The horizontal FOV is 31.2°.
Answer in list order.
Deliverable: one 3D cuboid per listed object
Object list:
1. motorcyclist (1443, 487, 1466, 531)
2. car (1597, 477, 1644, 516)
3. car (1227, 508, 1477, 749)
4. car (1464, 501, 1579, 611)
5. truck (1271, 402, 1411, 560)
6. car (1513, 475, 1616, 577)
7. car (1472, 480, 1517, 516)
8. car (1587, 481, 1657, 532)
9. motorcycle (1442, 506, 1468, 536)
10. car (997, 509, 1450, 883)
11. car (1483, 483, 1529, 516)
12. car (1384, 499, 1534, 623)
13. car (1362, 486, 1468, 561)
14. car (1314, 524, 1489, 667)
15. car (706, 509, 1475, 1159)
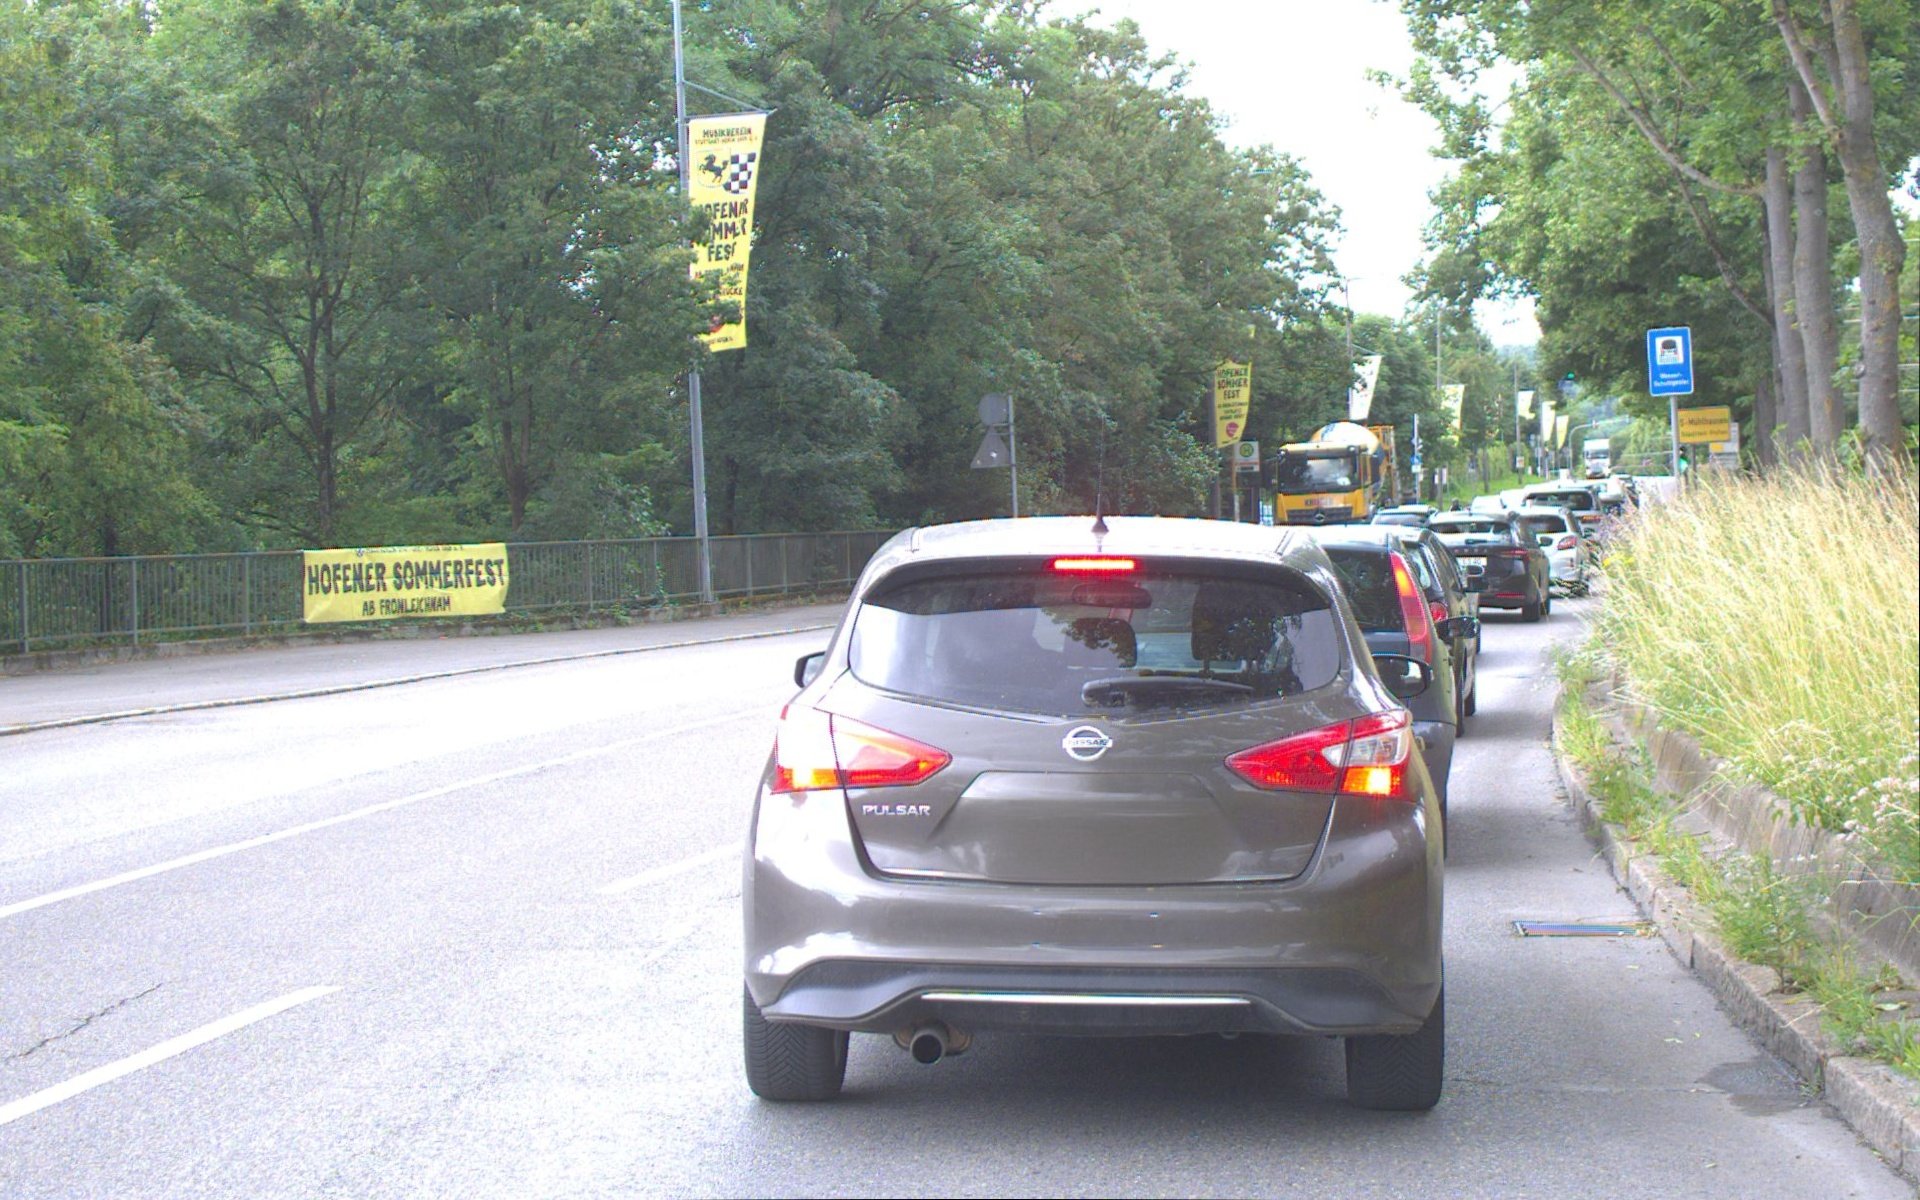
[{"bbox_3d":[17.482,-3.221,121.493,0.745,1.533,0.790,0,1,13],"label":"motorcyclist"},{"bbox_3d":[28.771,-4.487,149.621,1.892,1.647,3.998,-1,1,12],"label":"car"},{"bbox_3d":[2.839,0.163,24.438,1.578,1.533,3.999,-2,0,8],"label":"car"},{"bbox_3d":[9.375,-0.695,57.222,1.719,1.687,3.998,-2,-1,11],"label":"car"},{"bbox_3d":[10.150,-3.081,90.660,2.656,3.925,10.106,0,1,12],"label":"truck"},{"bbox_3d":[12.484,-1.524,70.853,1.892,2.007,3.998,-1,1,12],"label":"car"},{"bbox_3d":[23.229,-4.420,149.372,1.722,1.437,3.998,-2,0,11],"label":"car"},{"bbox_3d":[19.636,-2.776,101.882,1.892,1.440,3.805,-1,1,12],"label":"car"},{"bbox_3d":[17.489,-2.785,121.494,0.745,1.030,1.887,0,2,13],"label":"motorcycle"},{"bbox_3d":[1.279,0.400,16.486,1.893,1.568,3.999,0,0,5],"label":"car"},{"bbox_3d":[25.449,-4.694,160.234,1.818,1.457,3.998,-1,1,13],"label":"car"},{"bbox_3d":[6.538,-0.507,44.769,1.805,1.535,3.998,1,1,10],"label":"car"},{"bbox_3d":[9.619,-1.581,72.467,1.852,1.481,4.418,-1,0,12],"label":"car"},{"bbox_3d":[4.601,-0.072,35.503,1.501,1.359,3.585,-2,1,11],"label":"car"},{"bbox_3d":[0.416,0.530,9.980,1.775,1.489,3.999,0,0,3],"label":"car"}]
